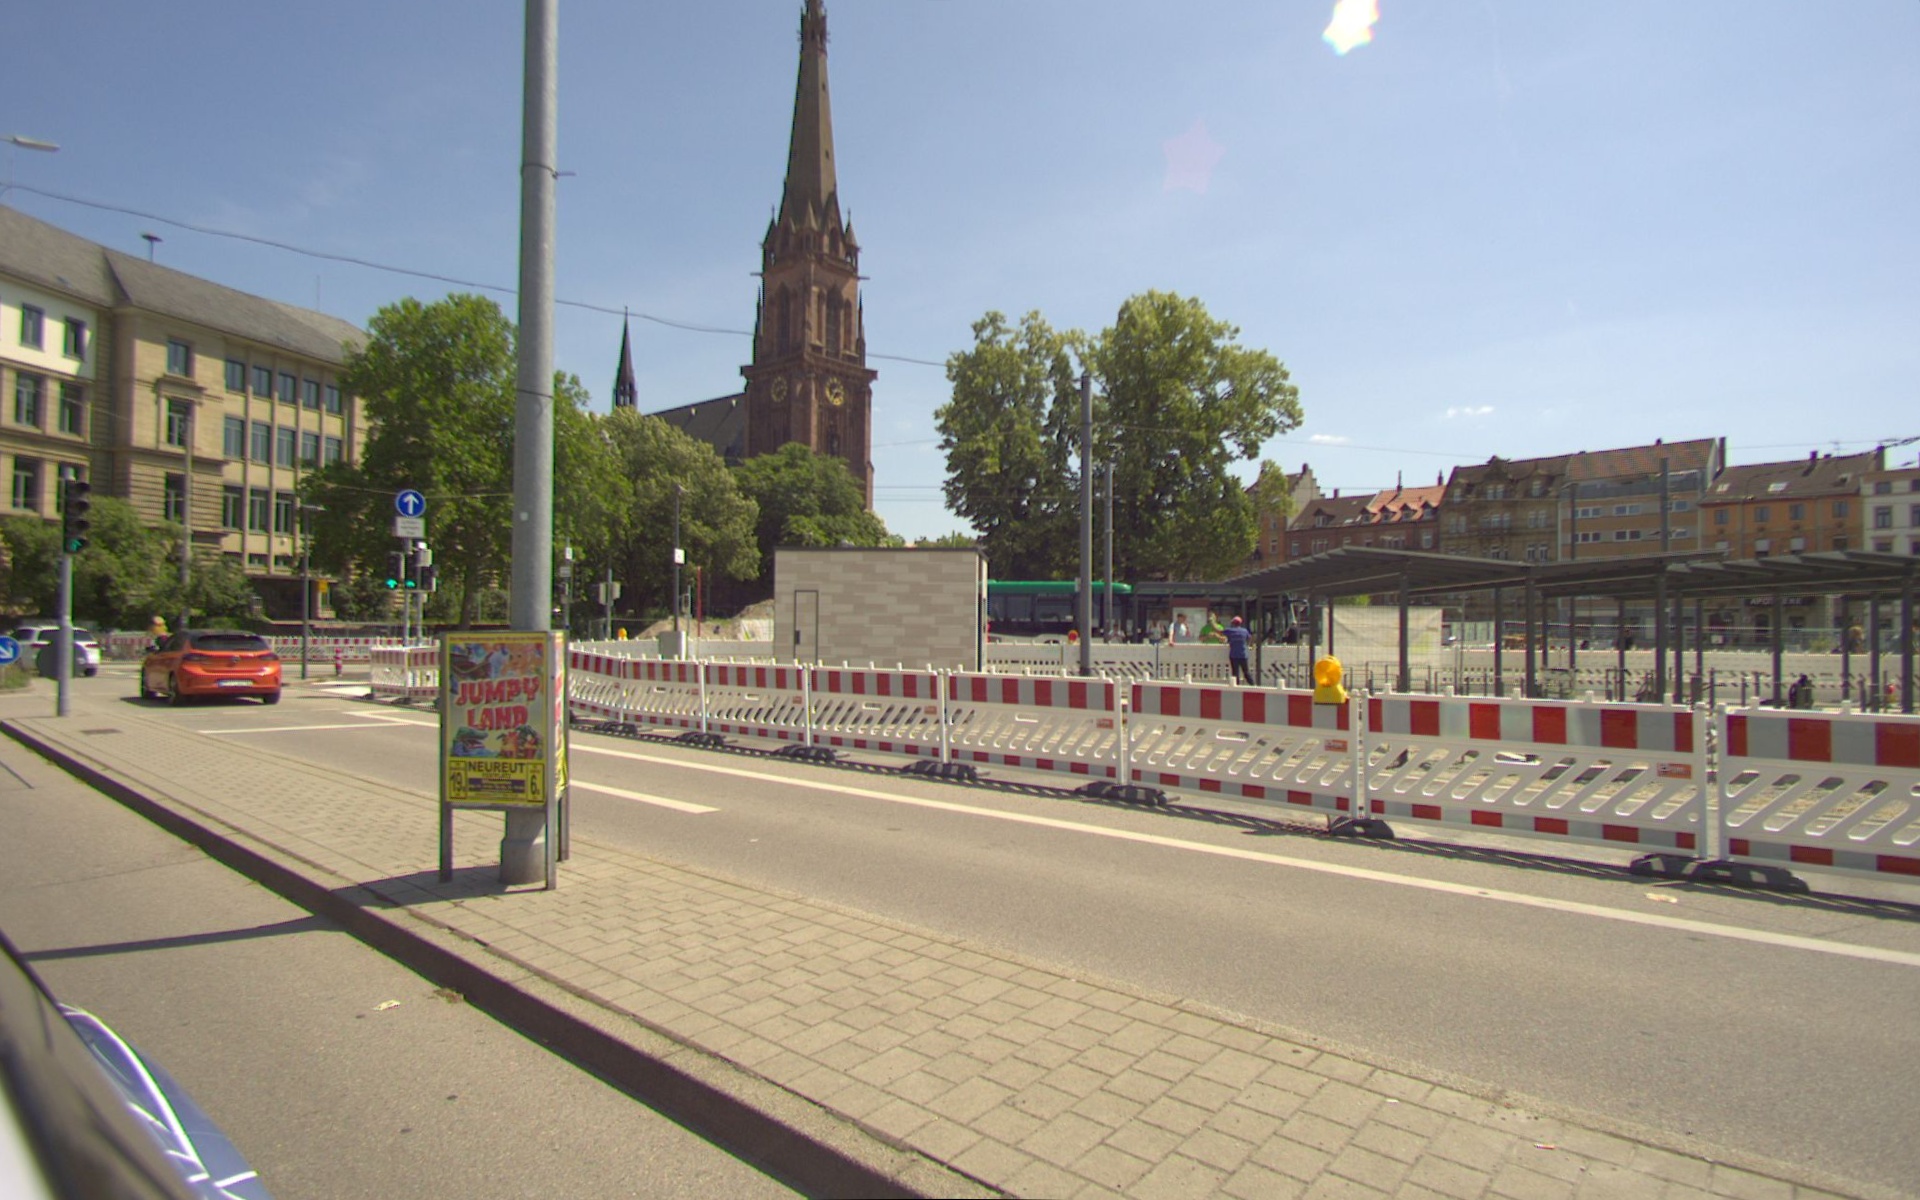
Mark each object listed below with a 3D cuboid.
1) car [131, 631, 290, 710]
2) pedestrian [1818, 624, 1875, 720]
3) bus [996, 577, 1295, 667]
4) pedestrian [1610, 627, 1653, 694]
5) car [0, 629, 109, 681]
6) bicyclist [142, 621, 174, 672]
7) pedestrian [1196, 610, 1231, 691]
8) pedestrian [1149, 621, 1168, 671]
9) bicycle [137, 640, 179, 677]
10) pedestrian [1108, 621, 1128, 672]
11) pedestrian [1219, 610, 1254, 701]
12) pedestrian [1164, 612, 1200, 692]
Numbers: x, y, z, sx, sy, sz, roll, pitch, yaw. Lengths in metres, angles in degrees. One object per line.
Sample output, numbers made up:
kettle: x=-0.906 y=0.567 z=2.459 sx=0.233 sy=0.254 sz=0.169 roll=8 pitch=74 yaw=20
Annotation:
car: x=-14.908 y=1.346 z=20.062 sx=4.012 sy=1.388 sz=1.670 roll=-1 pitch=-4 yaw=41
pedestrian: x=19.291 y=1.556 z=22.036 sx=0.637 sy=2.029 sz=0.648 roll=-1 pitch=0 yaw=-2
bus: x=6.690 y=0.820 z=37.599 sx=10.477 sy=3.076 sz=2.849 roll=-1 pitch=0 yaw=8
pedestrian: x=20.865 y=1.881 z=31.477 sx=0.869 sy=2.029 sz=0.694 roll=-1 pitch=0 yaw=10
car: x=-27.043 y=1.609 z=29.938 sx=4.418 sy=1.439 sz=1.799 roll=-1 pitch=-4 yaw=36
bicyclist: x=-26.440 y=1.533 z=33.370 sx=0.798 sy=1.678 sz=0.580 roll=-1 pitch=-4 yaw=38
pedestrian: x=5.742 y=1.138 z=22.953 sx=0.630 sy=1.802 sz=0.644 roll=-1 pitch=0 yaw=5
pedestrian: x=6.542 y=1.517 z=33.394 sx=0.513 sy=1.632 sz=0.537 roll=-1 pitch=0 yaw=2
bicycle: x=-26.443 y=1.917 z=33.348 sx=2.007 sy=1.159 sz=0.582 roll=-1 pitch=-4 yaw=38
pedestrian: x=5.213 y=1.525 z=33.459 sx=0.539 sy=1.667 sz=0.626 roll=-1 pitch=0 yaw=2
pedestrian: x=5.953 y=1.172 z=21.786 sx=0.569 sy=1.920 sz=0.692 roll=-1 pitch=0 yaw=5
pedestrian: x=5.000 y=1.160 z=22.823 sx=0.649 sy=1.769 sz=0.541 roll=-1 pitch=0 yaw=-4
